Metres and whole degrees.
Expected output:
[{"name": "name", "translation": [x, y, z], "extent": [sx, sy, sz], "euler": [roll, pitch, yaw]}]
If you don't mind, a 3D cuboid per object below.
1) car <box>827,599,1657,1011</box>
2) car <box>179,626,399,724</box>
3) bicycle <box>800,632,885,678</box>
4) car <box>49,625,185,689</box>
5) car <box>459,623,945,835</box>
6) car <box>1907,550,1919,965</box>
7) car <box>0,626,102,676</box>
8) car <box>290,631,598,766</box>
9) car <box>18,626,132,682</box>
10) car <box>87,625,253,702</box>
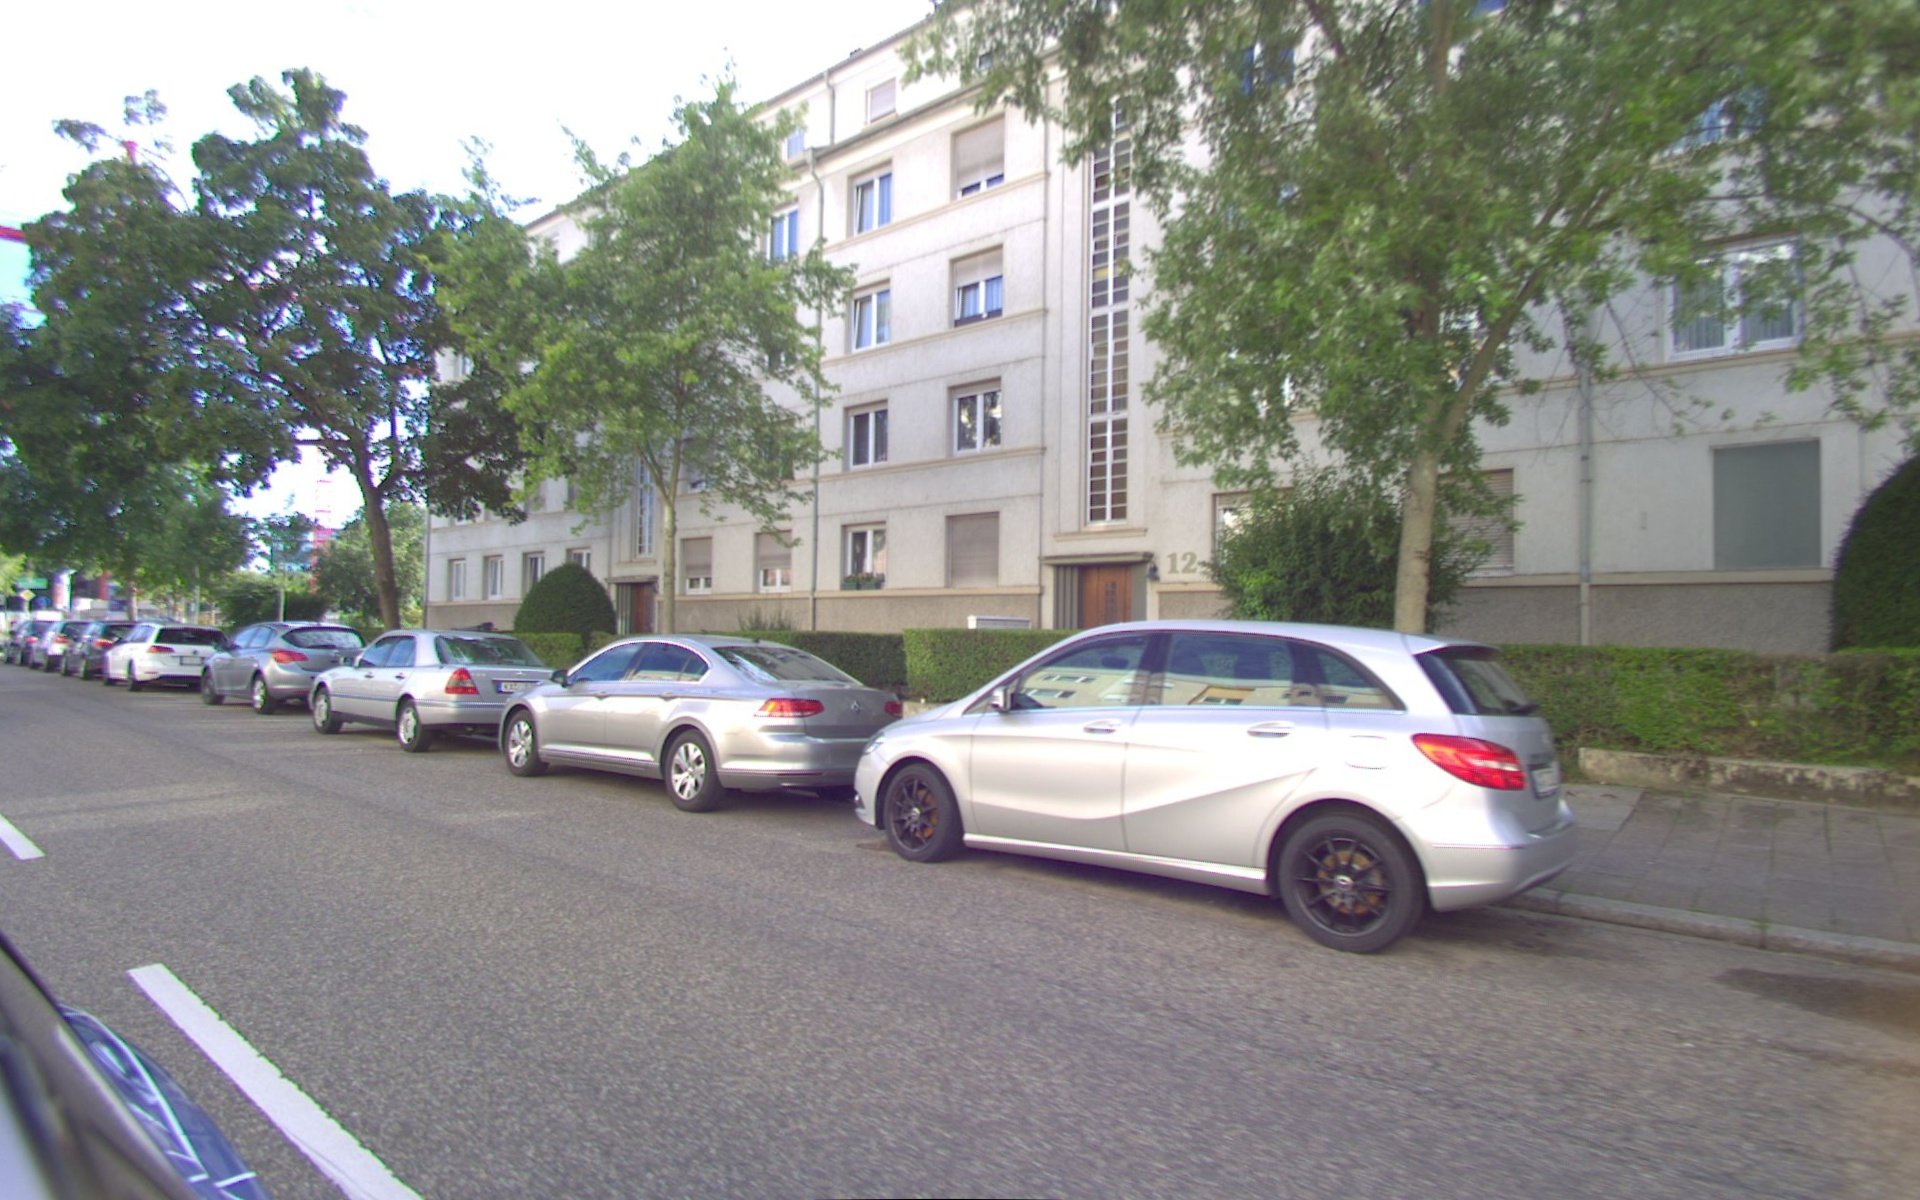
[{"name": "car", "translation": [1.383, 0.873, 6.095], "extent": [4.457, 1.585, 1.836], "euler": [-1, -4, 41]}, {"name": "car", "translation": [-11.796, 1.220, 17.664], "extent": [4.678, 1.497, 1.837], "euler": [-1, -3, 39]}, {"name": "bicycle", "translation": [-2.940, 1.344, 25.182], "extent": [2.402, 1.068, 0.627], "euler": [-1, -1, 40]}, {"name": "car", "translation": [-21.440, 1.389, 25.667], "extent": [4.680, 1.497, 1.836], "euler": [-1, -3, 40]}, {"name": "car", "translation": [-2.618, 1.024, 9.476], "extent": [4.940, 1.497, 1.836], "euler": [-1, -5, 40]}, {"name": "car", "translation": [5.648, 0.624, 2.272], "extent": [4.965, 1.807, 1.858], "euler": [-1, -4, 39]}, {"name": "car", "translation": [-29.311, 1.613, 32.399], "extent": [4.414, 1.497, 1.908], "euler": [-1, -4, 38]}, {"name": "car", "translation": [-6.673, 1.150, 12.856], "extent": [4.661, 1.404, 1.721], "euler": [-1, -5, 40]}, {"name": "car", "translation": [-25.585, 1.546, 29.209], "extent": [4.366, 1.497, 1.801], "euler": [-1, -5, 41]}, {"name": "car", "translation": [-17.361, 1.354, 22.152], "extent": [4.795, 1.497, 1.836], "euler": [-1, -6, 40]}]
